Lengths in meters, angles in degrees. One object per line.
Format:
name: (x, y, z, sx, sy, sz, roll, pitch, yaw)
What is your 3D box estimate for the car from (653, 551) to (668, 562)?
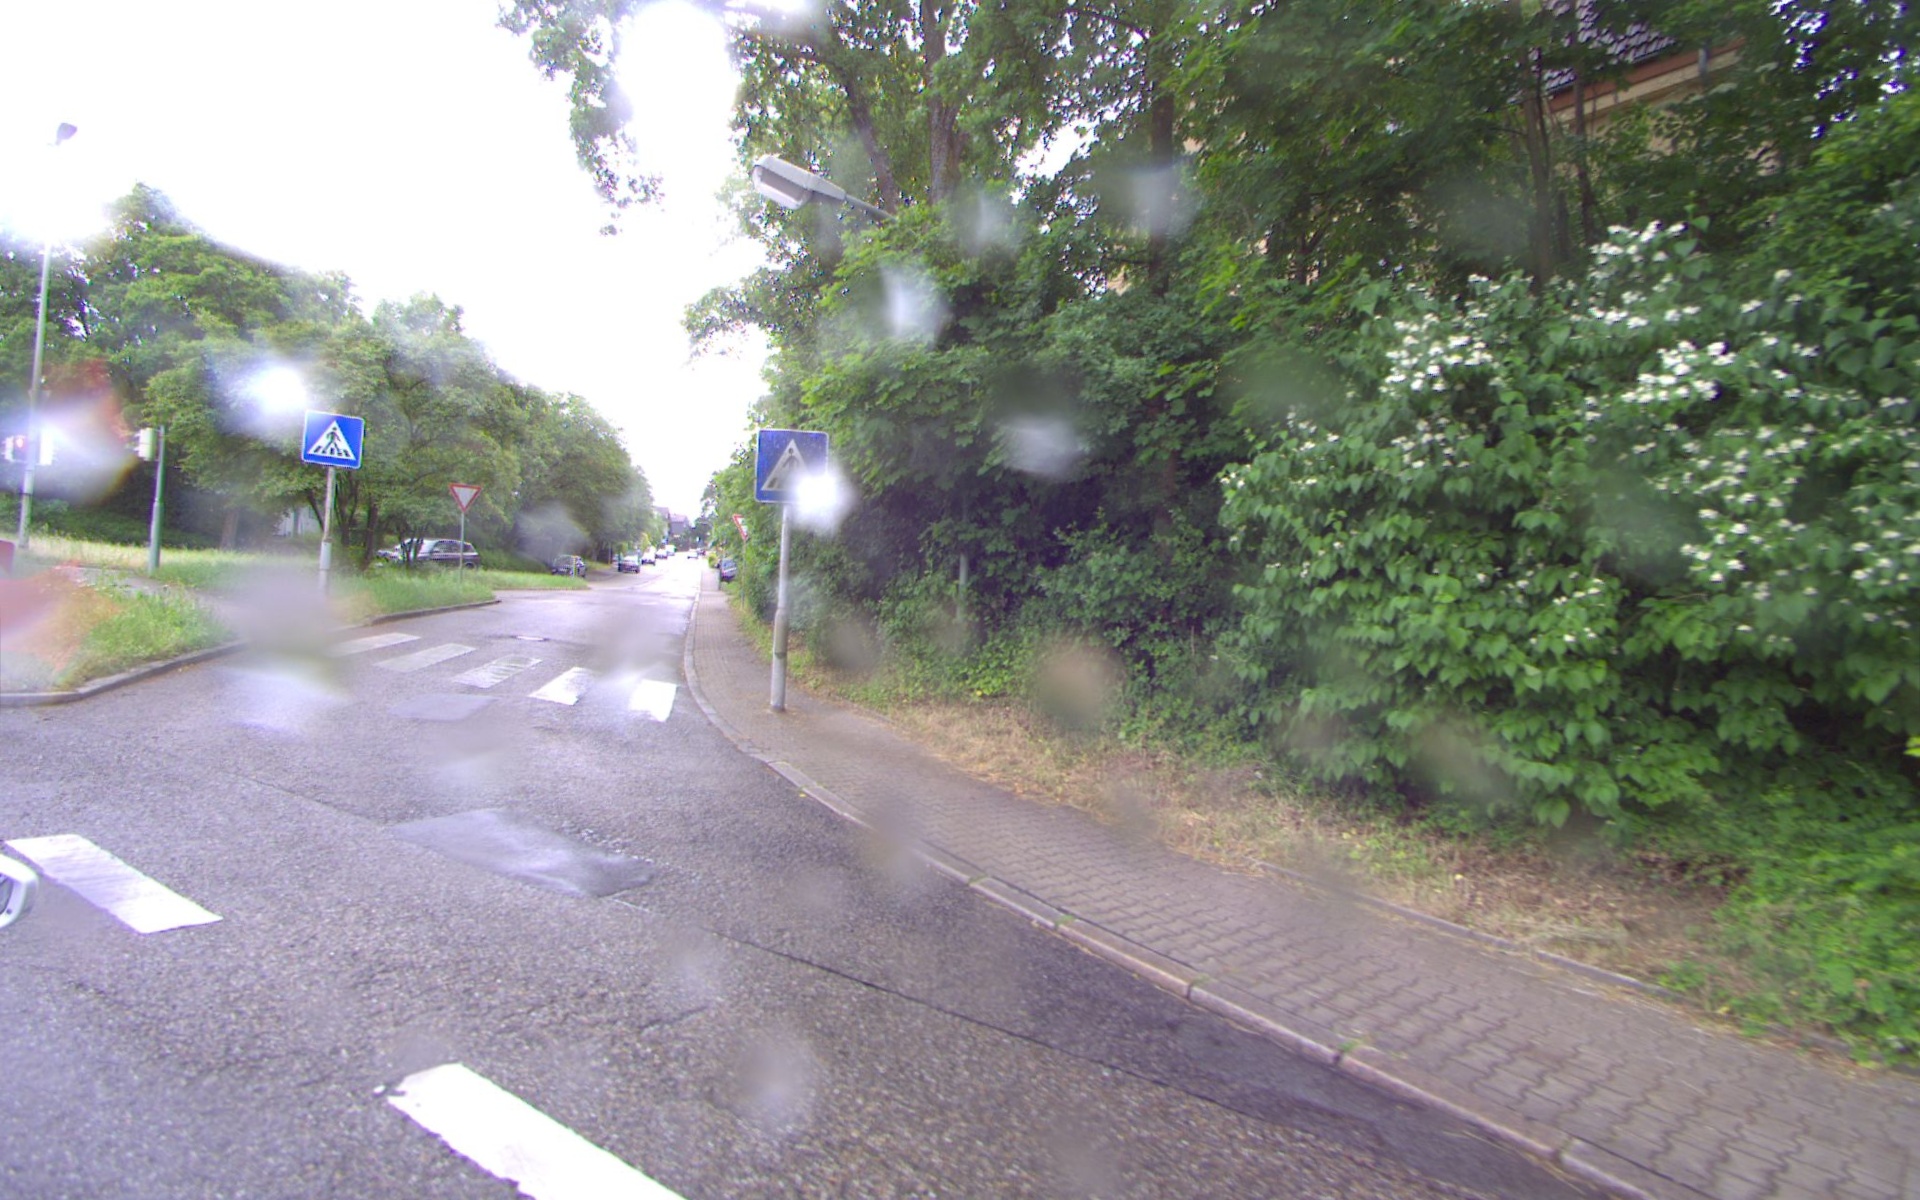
car: (-47.648, -6.962, 160.001, 1.877, 1.413, 4.151, 7, -2, -20)

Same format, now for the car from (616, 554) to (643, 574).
car: (-30.960, -3.371, 94.239, 1.874, 1.467, 4.285, 7, -2, -13)

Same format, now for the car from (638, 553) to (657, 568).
car: (-38.572, -4.852, 124.146, 1.968, 1.463, 4.277, 7, -2, -19)

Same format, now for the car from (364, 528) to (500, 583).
car: (-21.713, -1.809, 41.612, 1.963, 1.738, 4.714, 7, 0, 22)

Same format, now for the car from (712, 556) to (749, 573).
car: (-26.631, -4.107, 116.599, 3.939, 1.594, 1.766, 5, 1, -18)

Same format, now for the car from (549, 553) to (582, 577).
car: (-26.735, -2.362, 68.249, 1.651, 1.387, 3.477, 6, 0, -17)
